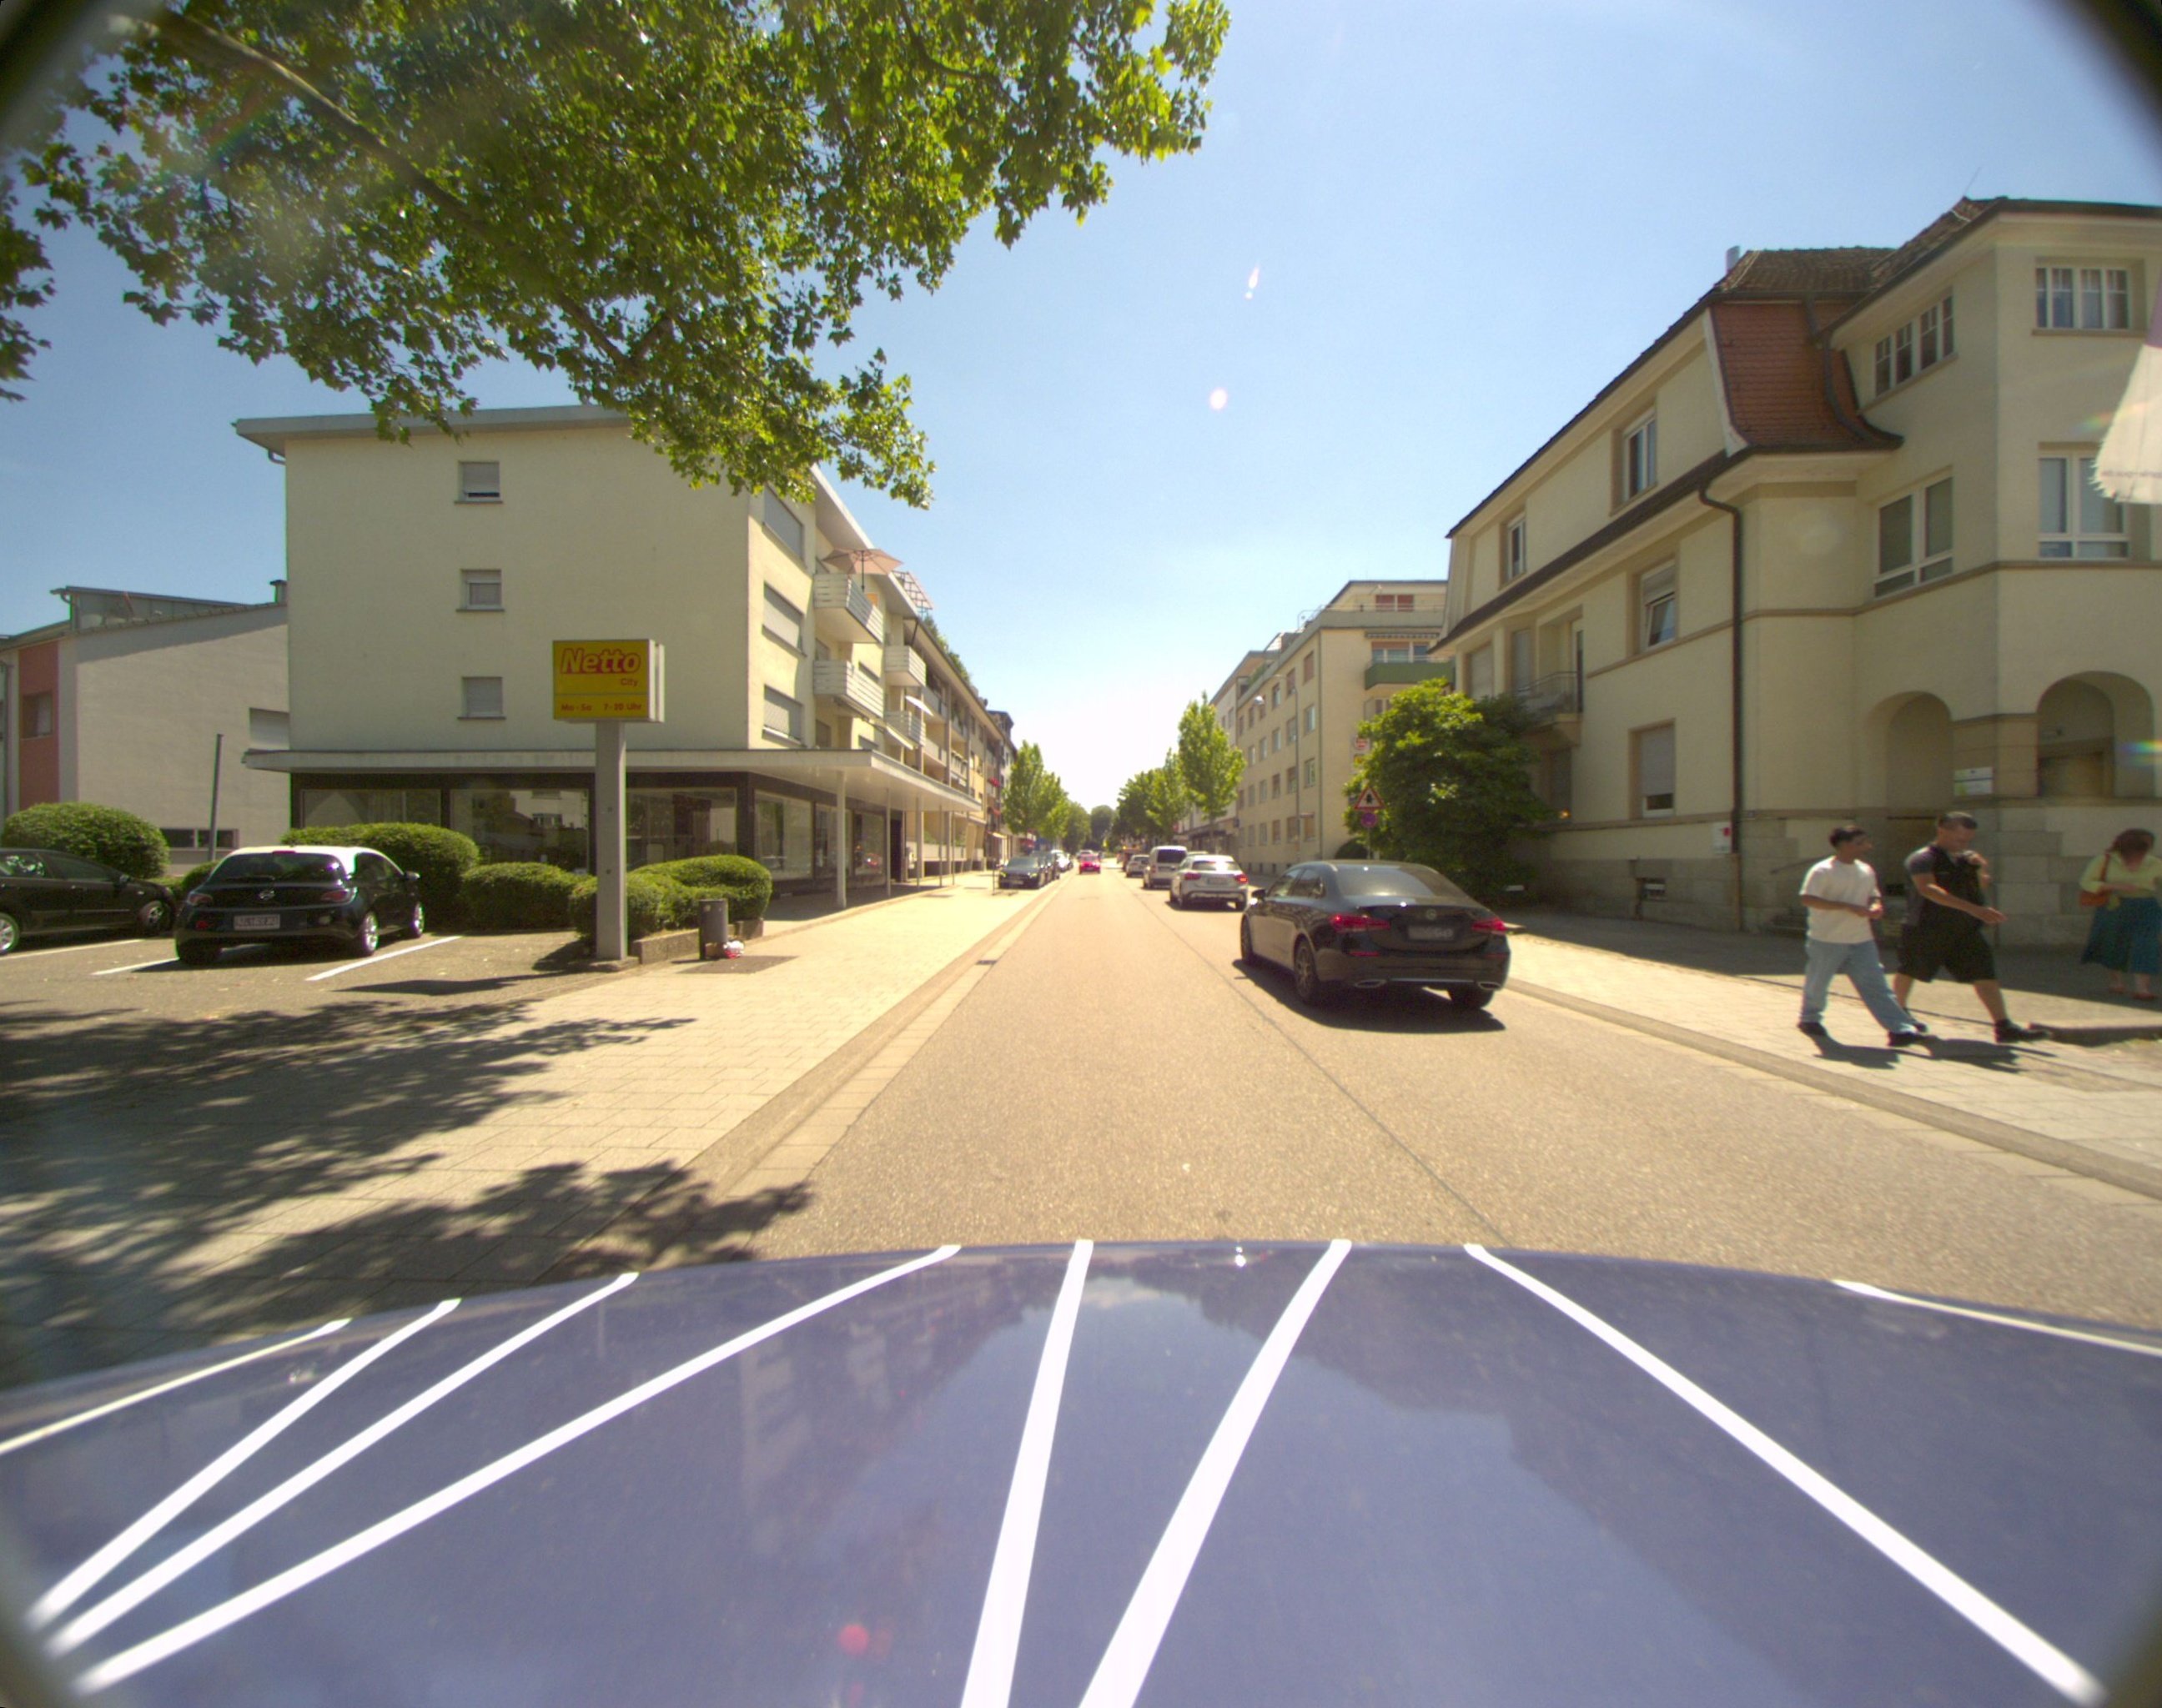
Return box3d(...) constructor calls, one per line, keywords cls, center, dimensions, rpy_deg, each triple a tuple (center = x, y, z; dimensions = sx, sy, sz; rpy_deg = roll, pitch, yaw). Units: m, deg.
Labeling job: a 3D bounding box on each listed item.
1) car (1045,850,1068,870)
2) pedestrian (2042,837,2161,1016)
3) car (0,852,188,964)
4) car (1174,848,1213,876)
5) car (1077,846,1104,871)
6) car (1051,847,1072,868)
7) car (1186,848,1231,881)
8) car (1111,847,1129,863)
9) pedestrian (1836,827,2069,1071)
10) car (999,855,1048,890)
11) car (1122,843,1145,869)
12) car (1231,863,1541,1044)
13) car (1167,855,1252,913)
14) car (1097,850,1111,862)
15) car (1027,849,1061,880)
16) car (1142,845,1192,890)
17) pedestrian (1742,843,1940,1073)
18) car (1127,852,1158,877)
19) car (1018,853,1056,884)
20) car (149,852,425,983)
box3d(cls="car", center=(-2.044, 0.473, 63.760), dimensions=(1.731, 1.680, 4.114), rpy_deg=(0, 0, 1))
box3d(cls="pedestrian", center=(10.118, 0.671, 7.409), dimensions=(0.541, 1.665, 0.735), rpy_deg=(0, 1, 0))
box3d(cls="car", center=(-15.826, 0.748, 11.184), dimensions=(1.739, 1.491, 3.624), rpy_deg=(-1, 1, -17))
box3d(cls="car", center=(6.945, 0.458, 47.238), dimensions=(1.731, 1.661, 4.293), rpy_deg=(-1, 0, 0))
box3d(cls="car", center=(0.775, 0.344, 60.642), dimensions=(2.000, 1.880, 4.294), rpy_deg=(-2, 0, 1))
box3d(cls="car", center=(-1.738, 0.308, 69.100), dimensions=(1.731, 1.861, 4.114), rpy_deg=(0, 0, 1))
box3d(cls="car", center=(6.813, 0.543, 41.114), dimensions=(1.731, 1.661, 4.294), rpy_deg=(-1, 0, 1))
box3d(cls="car", center=(4.911, 0.094, 95.972), dimensions=(2.000, 1.880, 4.294), rpy_deg=(1, 0, 1))
box3d(cls="pedestrian", center=(6.791, 0.691, 5.985), dimensions=(0.750, 1.760, 0.951), rpy_deg=(-1, 1, 0))
box3d(cls="car", center=(-2.512, 0.786, 34.064), dimensions=(1.818, 1.379, 4.114), rpy_deg=(3, 0, 1))
box3d(cls="car", center=(4.481, 0.163, 65.642), dimensions=(1.731, 2.154, 4.294), rpy_deg=(1, 1, 1))
box3d(cls="car", center=(3.025, 0.876, 8.621), dimensions=(1.834, 1.502, 4.262), rpy_deg=(1, 0, 1))
box3d(cls="car", center=(3.639, 0.793, 22.222), dimensions=(1.834, 1.502, 4.031), rpy_deg=(0, 0, 1))
box3d(cls="car", center=(3.057, 0.266, 100.133), dimensions=(1.698, 1.594, 3.812), rpy_deg=(0, 0, 0))
box3d(cls="car", center=(-2.184, 0.575, 45.458), dimensions=(1.731, 1.752, 4.115), rpy_deg=(0, 0, 1))
box3d(cls="car", center=(3.675, 0.542, 33.010), dimensions=(1.706, 1.815, 4.231), rpy_deg=(1, 0, 1))
box3d(cls="pedestrian", center=(5.958, 0.761, 6.012), dimensions=(0.622, 1.667, 0.903), rpy_deg=(-3, 1, 0))
box3d(cls="car", center=(4.041, 0.651, 50.661), dimensions=(1.731, 1.500, 4.293), rpy_deg=(1, 1, 1))
box3d(cls="car", center=(-2.293, 0.733, 40.456), dimensions=(1.731, 1.499, 4.114), rpy_deg=(0, 0, 1))
box3d(cls="car", center=(-10.790, 0.727, 10.664), dimensions=(1.740, 1.491, 3.454), rpy_deg=(0, 1, -30))
